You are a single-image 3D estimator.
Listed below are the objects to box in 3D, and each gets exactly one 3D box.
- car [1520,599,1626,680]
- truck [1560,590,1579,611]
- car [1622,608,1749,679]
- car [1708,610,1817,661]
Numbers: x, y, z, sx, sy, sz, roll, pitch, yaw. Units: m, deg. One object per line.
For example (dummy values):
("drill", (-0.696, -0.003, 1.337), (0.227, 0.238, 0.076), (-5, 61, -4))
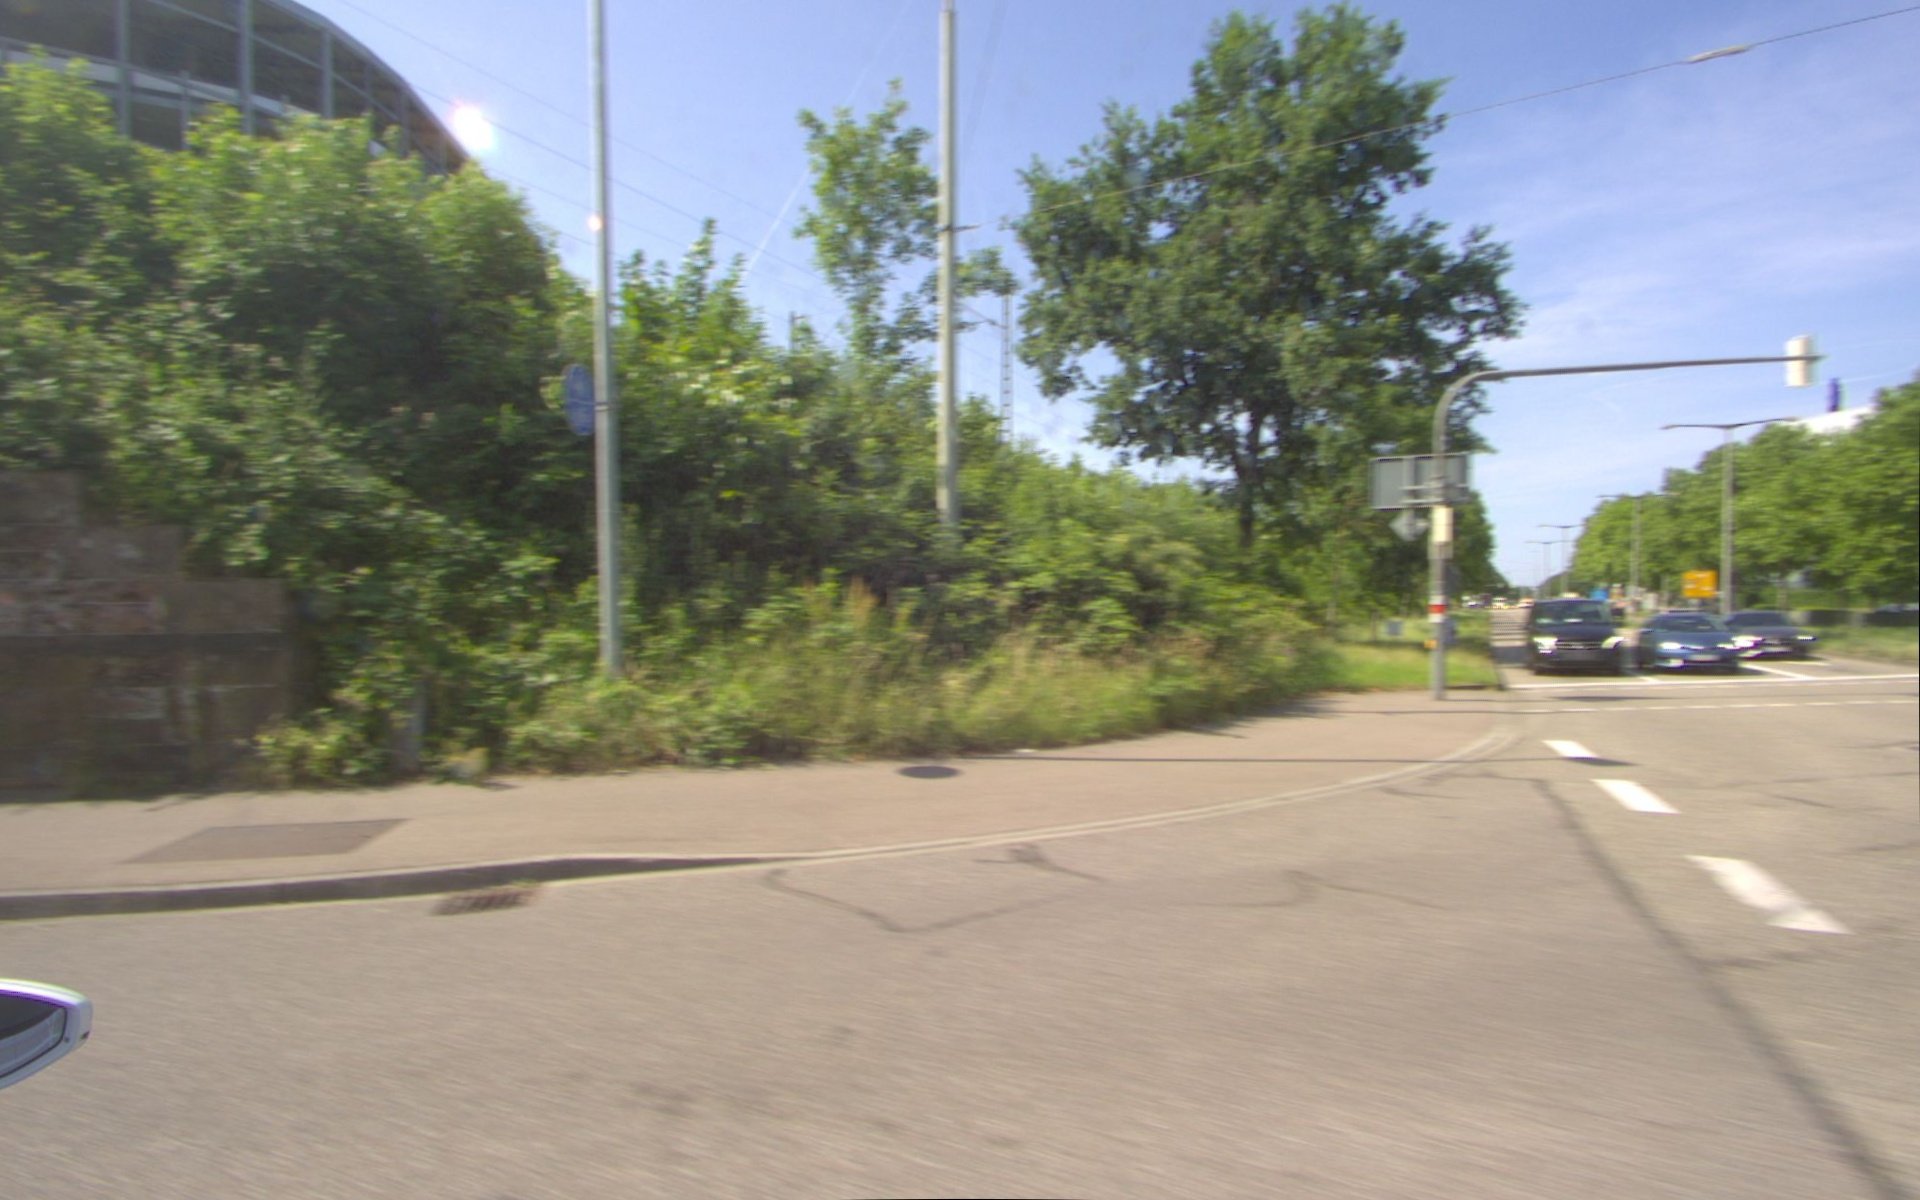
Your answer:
("car", (15.122, 0.909, 24.900), (1.826, 1.838, 3.986), (0, 0, 25))
("truck", (110.657, 0.121, 181.945), (2.808, 3.624, 8.677), (0, 0, 31))
("car", (17.722, 0.999, 24.651), (1.826, 1.582, 3.986), (0, 0, 25))
("car", (24.045, 1.026, 30.153), (1.693, 1.396, 4.454), (-2, -1, 28))
